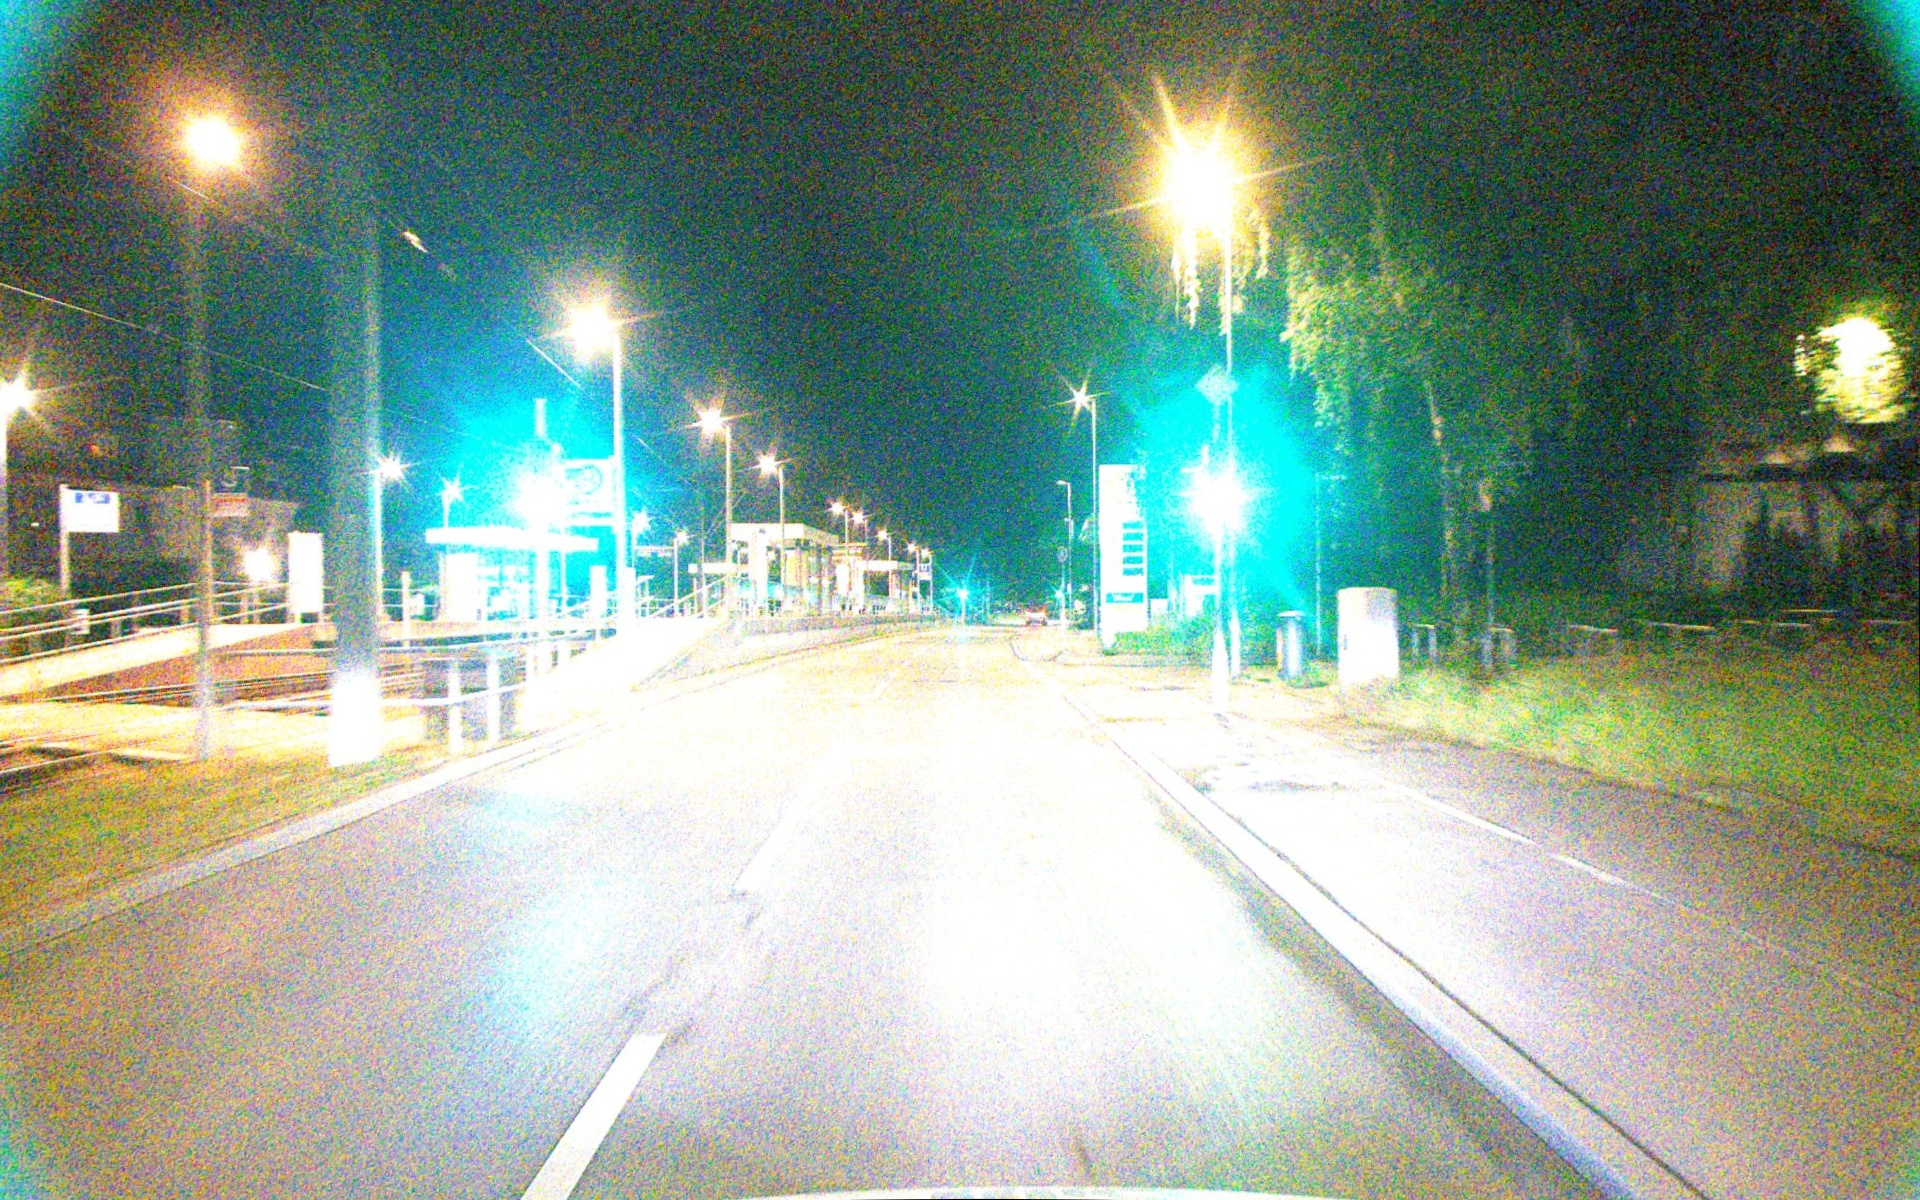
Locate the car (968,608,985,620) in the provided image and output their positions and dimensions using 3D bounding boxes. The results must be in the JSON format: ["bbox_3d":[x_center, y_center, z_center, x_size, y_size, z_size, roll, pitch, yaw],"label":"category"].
[{"bbox_3d":[2.368,2.000,235.825,1.951,1.657,4.681,0,0,8],"label":"car"}]

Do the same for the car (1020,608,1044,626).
[{"bbox_3d":[6.606,1.567,152.061,2.116,1.610,4.015,1,-1,4],"label":"car"}]

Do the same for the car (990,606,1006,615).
[{"bbox_3d":[5.881,1.640,255.382,1.951,1.361,5.436,0,0,8],"label":"car"}]
